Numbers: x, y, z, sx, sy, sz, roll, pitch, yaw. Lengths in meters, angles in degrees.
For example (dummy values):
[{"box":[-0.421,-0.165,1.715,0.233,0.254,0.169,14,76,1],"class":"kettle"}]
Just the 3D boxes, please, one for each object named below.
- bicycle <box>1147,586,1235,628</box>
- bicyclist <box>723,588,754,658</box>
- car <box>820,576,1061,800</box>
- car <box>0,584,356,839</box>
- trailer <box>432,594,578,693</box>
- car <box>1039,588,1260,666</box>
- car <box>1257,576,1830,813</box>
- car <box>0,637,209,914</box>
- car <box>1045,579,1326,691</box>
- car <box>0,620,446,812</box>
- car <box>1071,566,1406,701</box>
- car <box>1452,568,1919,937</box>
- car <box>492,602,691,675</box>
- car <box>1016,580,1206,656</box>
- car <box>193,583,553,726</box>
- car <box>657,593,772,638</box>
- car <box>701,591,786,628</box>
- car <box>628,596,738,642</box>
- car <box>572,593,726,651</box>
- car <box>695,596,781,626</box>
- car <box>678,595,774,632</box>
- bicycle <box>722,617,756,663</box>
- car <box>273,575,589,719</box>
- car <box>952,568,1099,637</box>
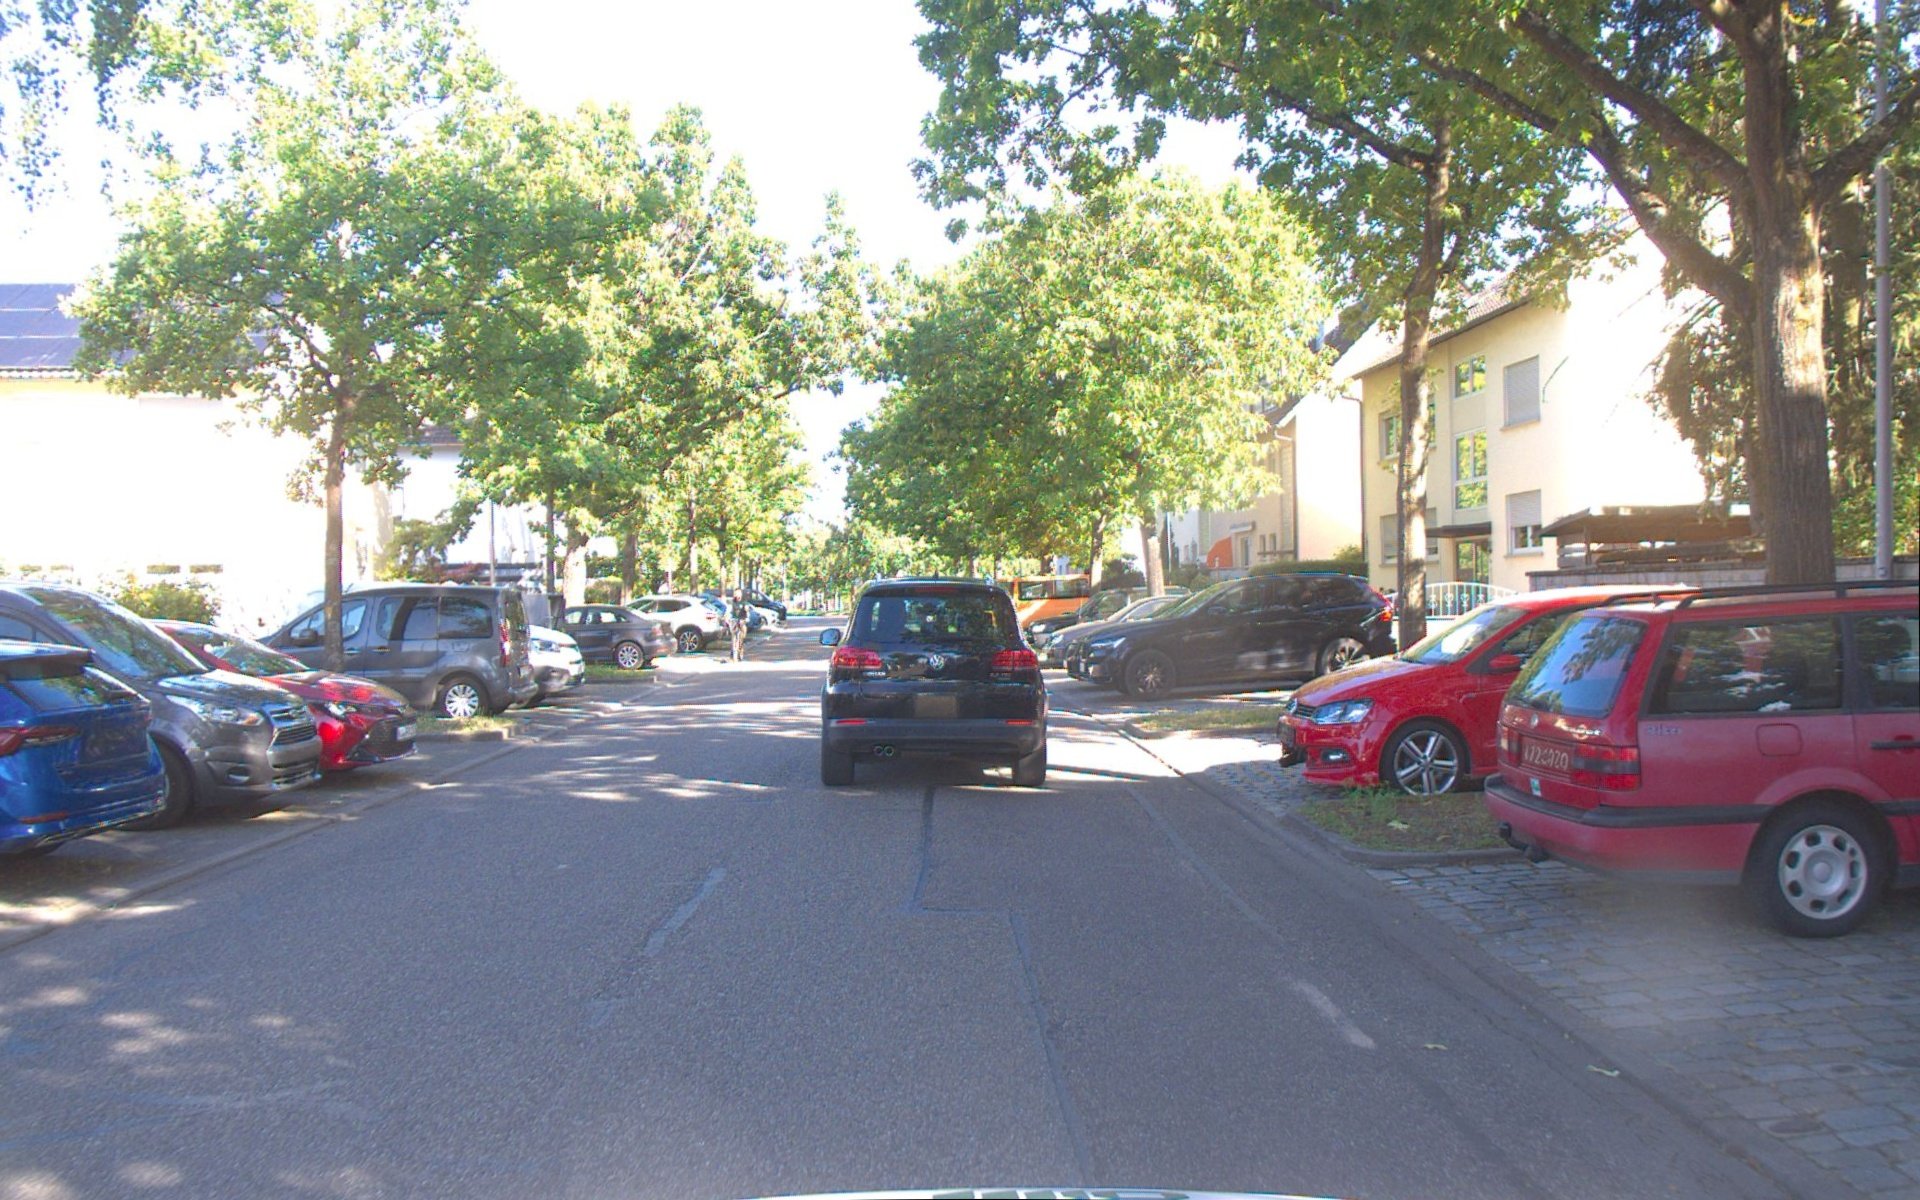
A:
[{"box":[7.672,0.230,54.875,2.802,1.259,0.467,-3,-1,-3],"class":"bicycle"},{"box":[-5.571,0.578,41.583,0.584,1.703,0.975,-4,0,-2],"class":"bicyclist"},{"box":[-0.202,0.659,14.382,1.801,1.665,3.956,0,0,-2],"class":"car"},{"box":[-7.213,0.783,12.560,4.580,1.799,1.794,0,0,-3],"class":"car"},{"box":[-8.199,0.766,29.921,2.190,1.703,1.475,-1,0,1],"class":"trailer"},{"box":[3.901,0.552,34.513,4.338,1.354,1.690,-3,0,-1],"class":"car"},{"box":[4.315,0.682,12.639,3.701,1.510,1.755,-3,-1,-2],"class":"car"},{"box":[-6.920,0.963,9.743,4.184,1.449,1.723,0,0,-1],"class":"car"},{"box":[3.622,0.541,27.083,4.235,1.556,1.839,-3,0,-4],"class":"car"},{"box":[-7.133,1.006,14.988,4.388,1.526,1.835,-1,0,-5],"class":"car"},{"box":[4.002,0.463,24.222,4.483,1.675,1.837,-3,0,-3],"class":"car"},{"box":[4.886,0.579,7.987,4.412,1.471,1.837,-3,0,-2],"class":"car"},{"box":[-8.249,0.846,37.318,4.127,1.497,1.689,-2,0,-4],"class":"car"},{"box":[3.591,0.416,39.720,4.253,1.587,1.866,-3,0,-4],"class":"car"},{"box":[-7.755,0.707,22.212,4.156,1.801,1.965,1,0,-6],"class":"car"},{"box":[-9.957,0.634,67.435,4.434,1.660,1.936,-1,-1,-4],"class":"car"},{"box":[-12.303,0.558,94.090,4.687,1.950,2.016,-2,0,-7],"class":"car"},{"box":[-10.491,0.710,62.854,3.908,1.623,1.856,-1,-1,-4],"class":"car"},{"box":[-8.919,0.615,47.677,4.103,1.594,1.791,0,0,-2],"class":"car"},{"box":[-11.182,0.563,83.646,4.192,1.504,1.767,0,0,-5],"class":"car"},{"box":[-10.423,0.615,73.999,4.100,1.518,1.645,-1,-1,-4],"class":"car"},{"box":[-5.546,0.990,41.554,0.585,1.077,1.985,-4,0,-2],"class":"bicycle"},{"box":[-7.859,0.686,24.923,4.154,1.978,1.997,-1,-1,-6],"class":"car"},{"box":[2.162,0.061,55.690,4.723,2.119,2.085,-2,0,-4],"class":"car"}]
